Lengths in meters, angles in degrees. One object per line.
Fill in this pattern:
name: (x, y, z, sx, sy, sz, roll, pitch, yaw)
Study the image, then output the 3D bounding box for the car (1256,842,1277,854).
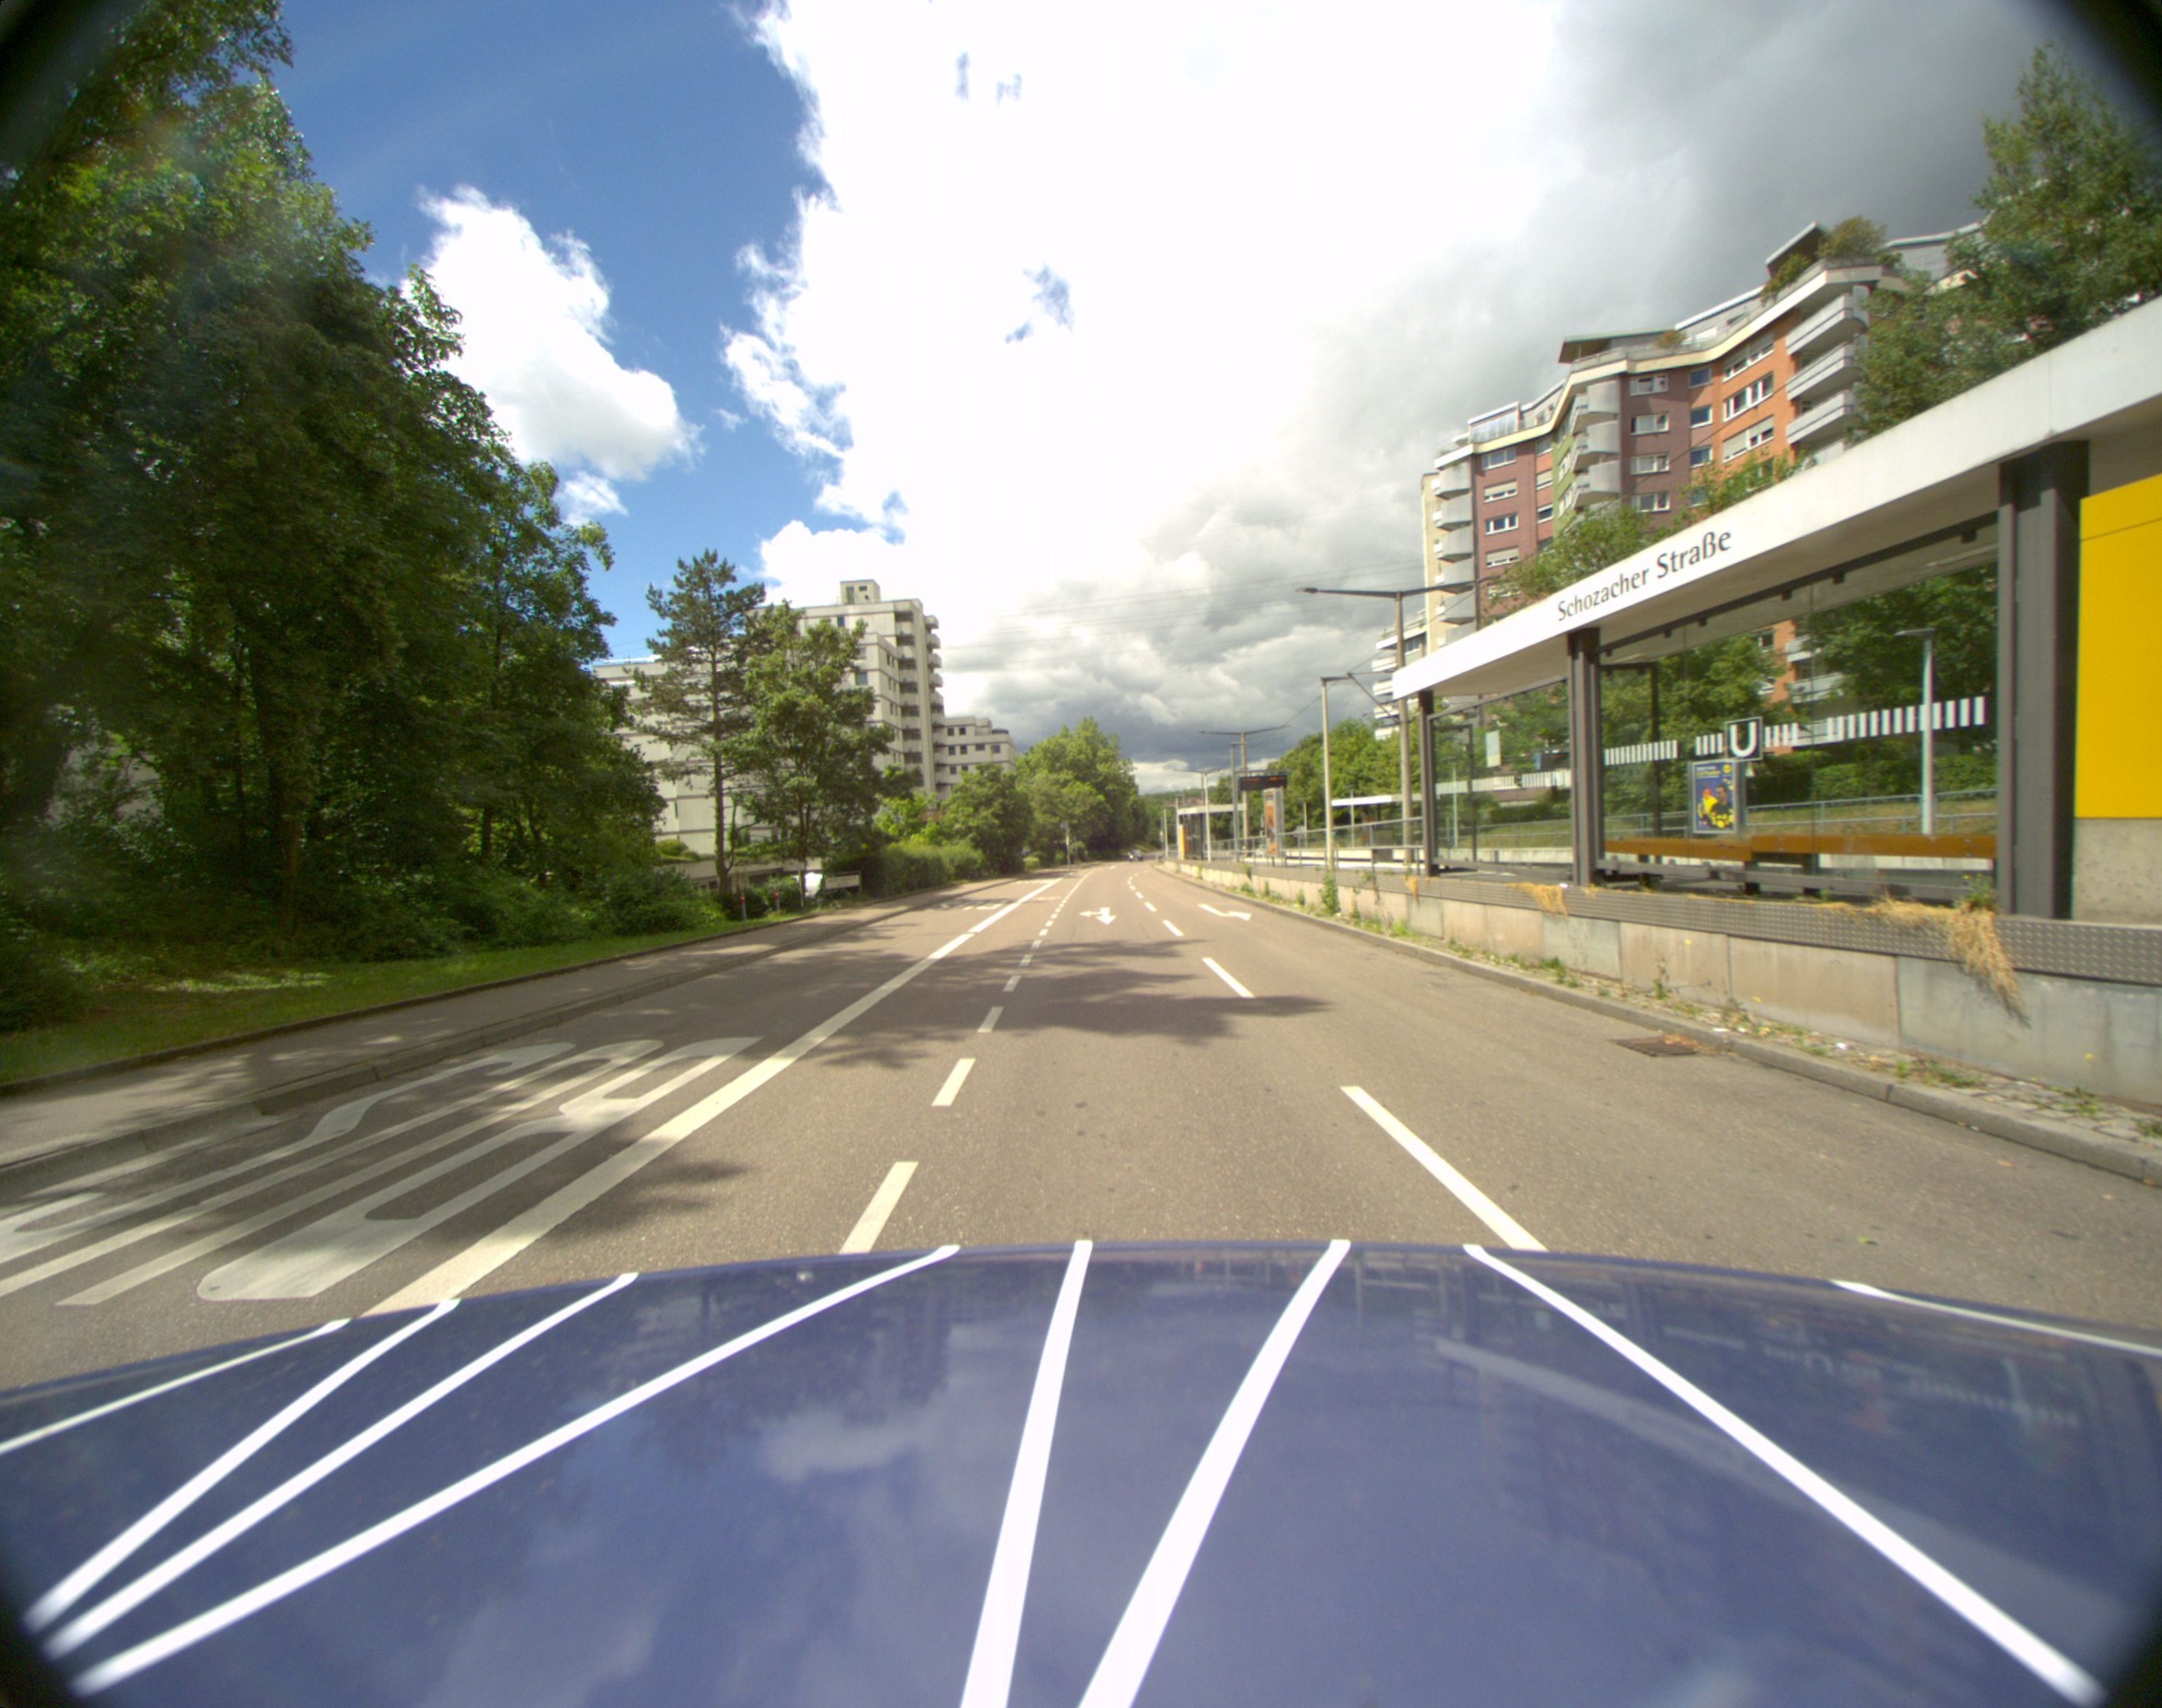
car: (23.059, -0.757, 94.682, 1.658, 1.410, 4.000, -2, 1, 1)

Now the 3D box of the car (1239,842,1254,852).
car: (24.211, -1.029, 111.381, 1.658, 1.504, 3.738, -2, 1, 5)

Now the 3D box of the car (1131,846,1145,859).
car: (7.276, -0.233, 97.267, 1.736, 1.477, 3.817, -2, 1, 5)
